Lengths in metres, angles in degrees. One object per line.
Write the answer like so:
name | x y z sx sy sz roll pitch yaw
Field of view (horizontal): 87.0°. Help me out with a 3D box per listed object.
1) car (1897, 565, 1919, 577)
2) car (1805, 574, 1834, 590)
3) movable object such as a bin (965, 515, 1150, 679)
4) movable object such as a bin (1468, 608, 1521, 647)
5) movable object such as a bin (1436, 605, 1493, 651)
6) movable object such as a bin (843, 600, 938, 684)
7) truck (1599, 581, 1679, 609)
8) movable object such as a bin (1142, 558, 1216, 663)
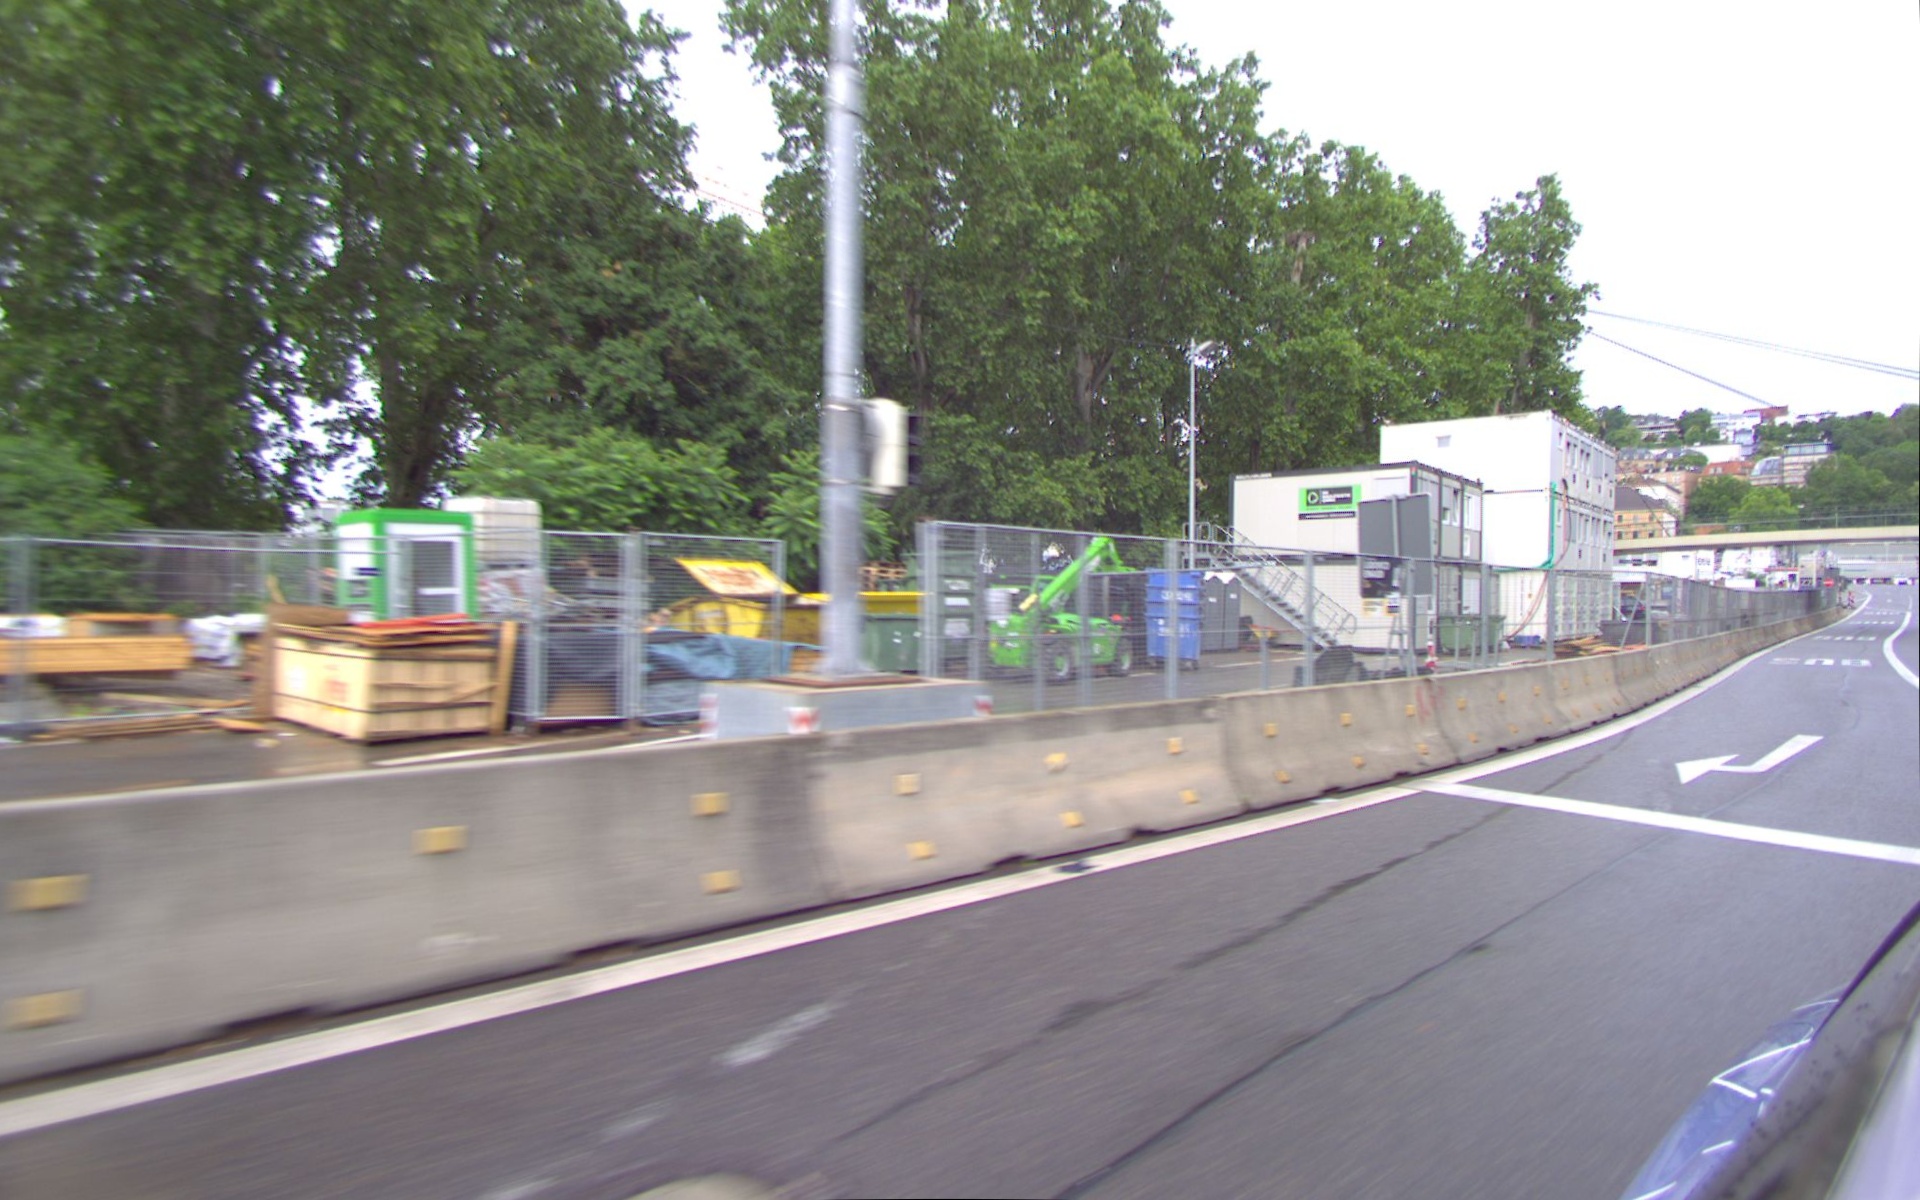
car | 141.590 -4.272 150.523 1.977 1.589 3.973 2 4 22
car | 91.111 -1.920 107.296 4.340 1.459 1.834 -3 2 -43
movable object such as a bin | 1.976 -0.026 19.569 1.803 2.845 3.812 0 -1 38
movable object such as a bin | 17.518 0.885 33.187 1.246 1.136 1.221 3 5 43
movable object such as a bin | 15.386 0.835 30.855 1.246 1.251 1.220 3 5 43
movable object such as a bin | -1.192 0.695 17.172 1.239 1.362 1.181 1 -1 -27
truck | 53.402 -0.442 79.621 5.143 2.038 2.377 1 3 38
movable object such as a bin | 4.861 0.229 22.399 1.443 2.231 1.256 1 -1 20
